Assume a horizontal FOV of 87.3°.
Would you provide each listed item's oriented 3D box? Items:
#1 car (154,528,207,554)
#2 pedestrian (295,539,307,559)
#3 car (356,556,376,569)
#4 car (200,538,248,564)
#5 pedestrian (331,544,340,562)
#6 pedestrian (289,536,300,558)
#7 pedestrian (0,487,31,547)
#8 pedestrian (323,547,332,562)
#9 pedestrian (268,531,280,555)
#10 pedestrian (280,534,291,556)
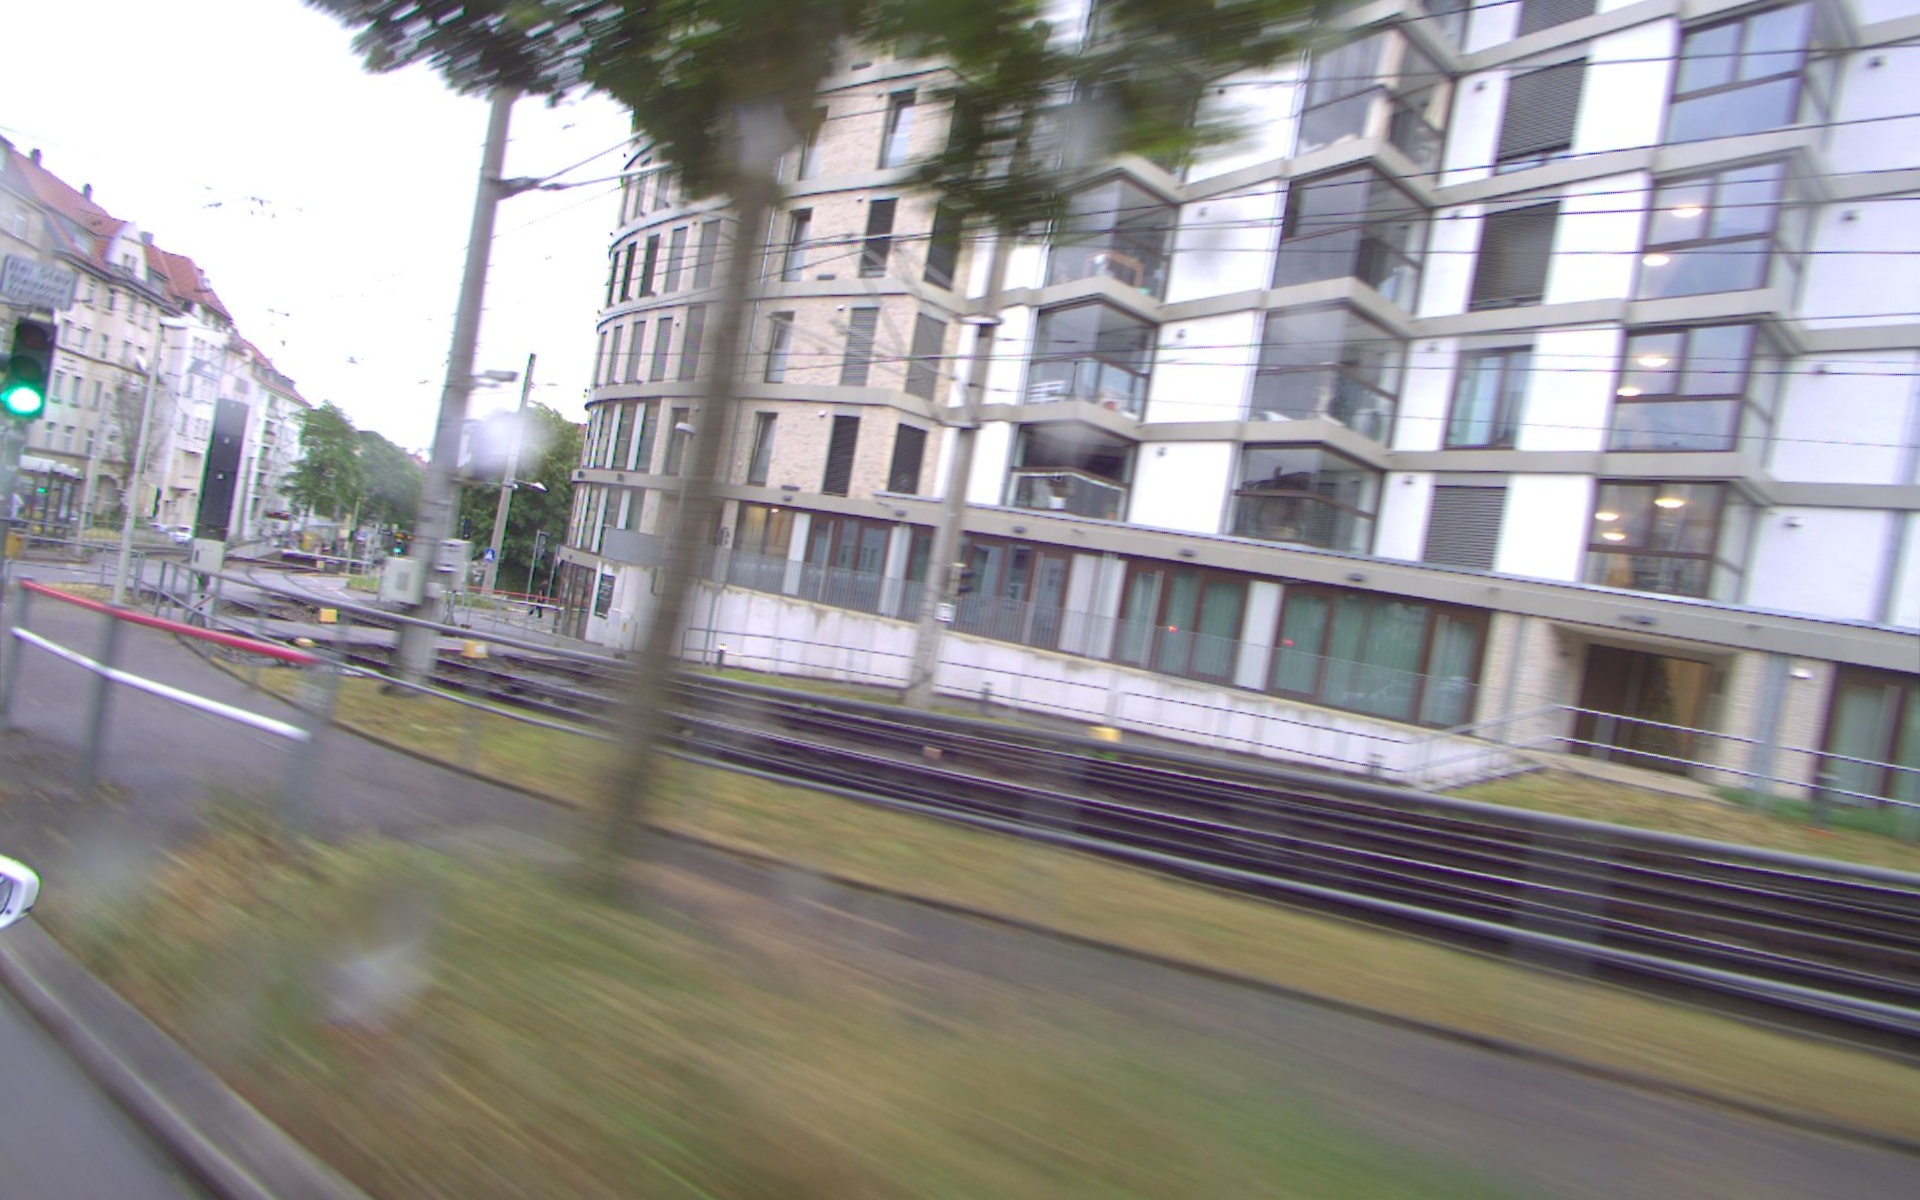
[{"bbox_3d":[-61.991,-4.666,80.121,1.903,1.641,4.516,8,-2,-20],"label":"car"},{"bbox_3d":[-61.122,-4.714,93.336,0.588,1.685,0.758,7,-1,-22],"label":"pedestrian"},{"bbox_3d":[-90.491,-5.686,153.187,1.708,1.533,4.475,9,-2,-21],"label":"car"},{"bbox_3d":[-64.886,-4.287,88.768,1.972,1.751,4.797,8,-3,-19],"label":"car"},{"bbox_3d":[-64.011,-4.795,103.142,0.544,1.761,0.611,7,-1,-22],"label":"pedestrian"},{"bbox_3d":[-60.177,-4.795,90.992,0.511,1.859,0.758,7,-1,-22],"label":"pedestrian"},{"bbox_3d":[-29.436,-2.563,31.262,0.572,1.772,0.539,8,-2,-33],"label":"pedestrian"},{"bbox_3d":[-64.005,-4.637,101.799,0.544,1.430,0.611,7,-1,-22],"label":"pedestrian"},{"bbox_3d":[-56.811,-4.707,83.319,0.555,1.871,0.596,7,-1,-22],"label":"pedestrian"},{"bbox_3d":[-58.824,-4.780,87.737,0.511,1.859,0.758,7,-1,-22],"label":"pedestrian"}]
